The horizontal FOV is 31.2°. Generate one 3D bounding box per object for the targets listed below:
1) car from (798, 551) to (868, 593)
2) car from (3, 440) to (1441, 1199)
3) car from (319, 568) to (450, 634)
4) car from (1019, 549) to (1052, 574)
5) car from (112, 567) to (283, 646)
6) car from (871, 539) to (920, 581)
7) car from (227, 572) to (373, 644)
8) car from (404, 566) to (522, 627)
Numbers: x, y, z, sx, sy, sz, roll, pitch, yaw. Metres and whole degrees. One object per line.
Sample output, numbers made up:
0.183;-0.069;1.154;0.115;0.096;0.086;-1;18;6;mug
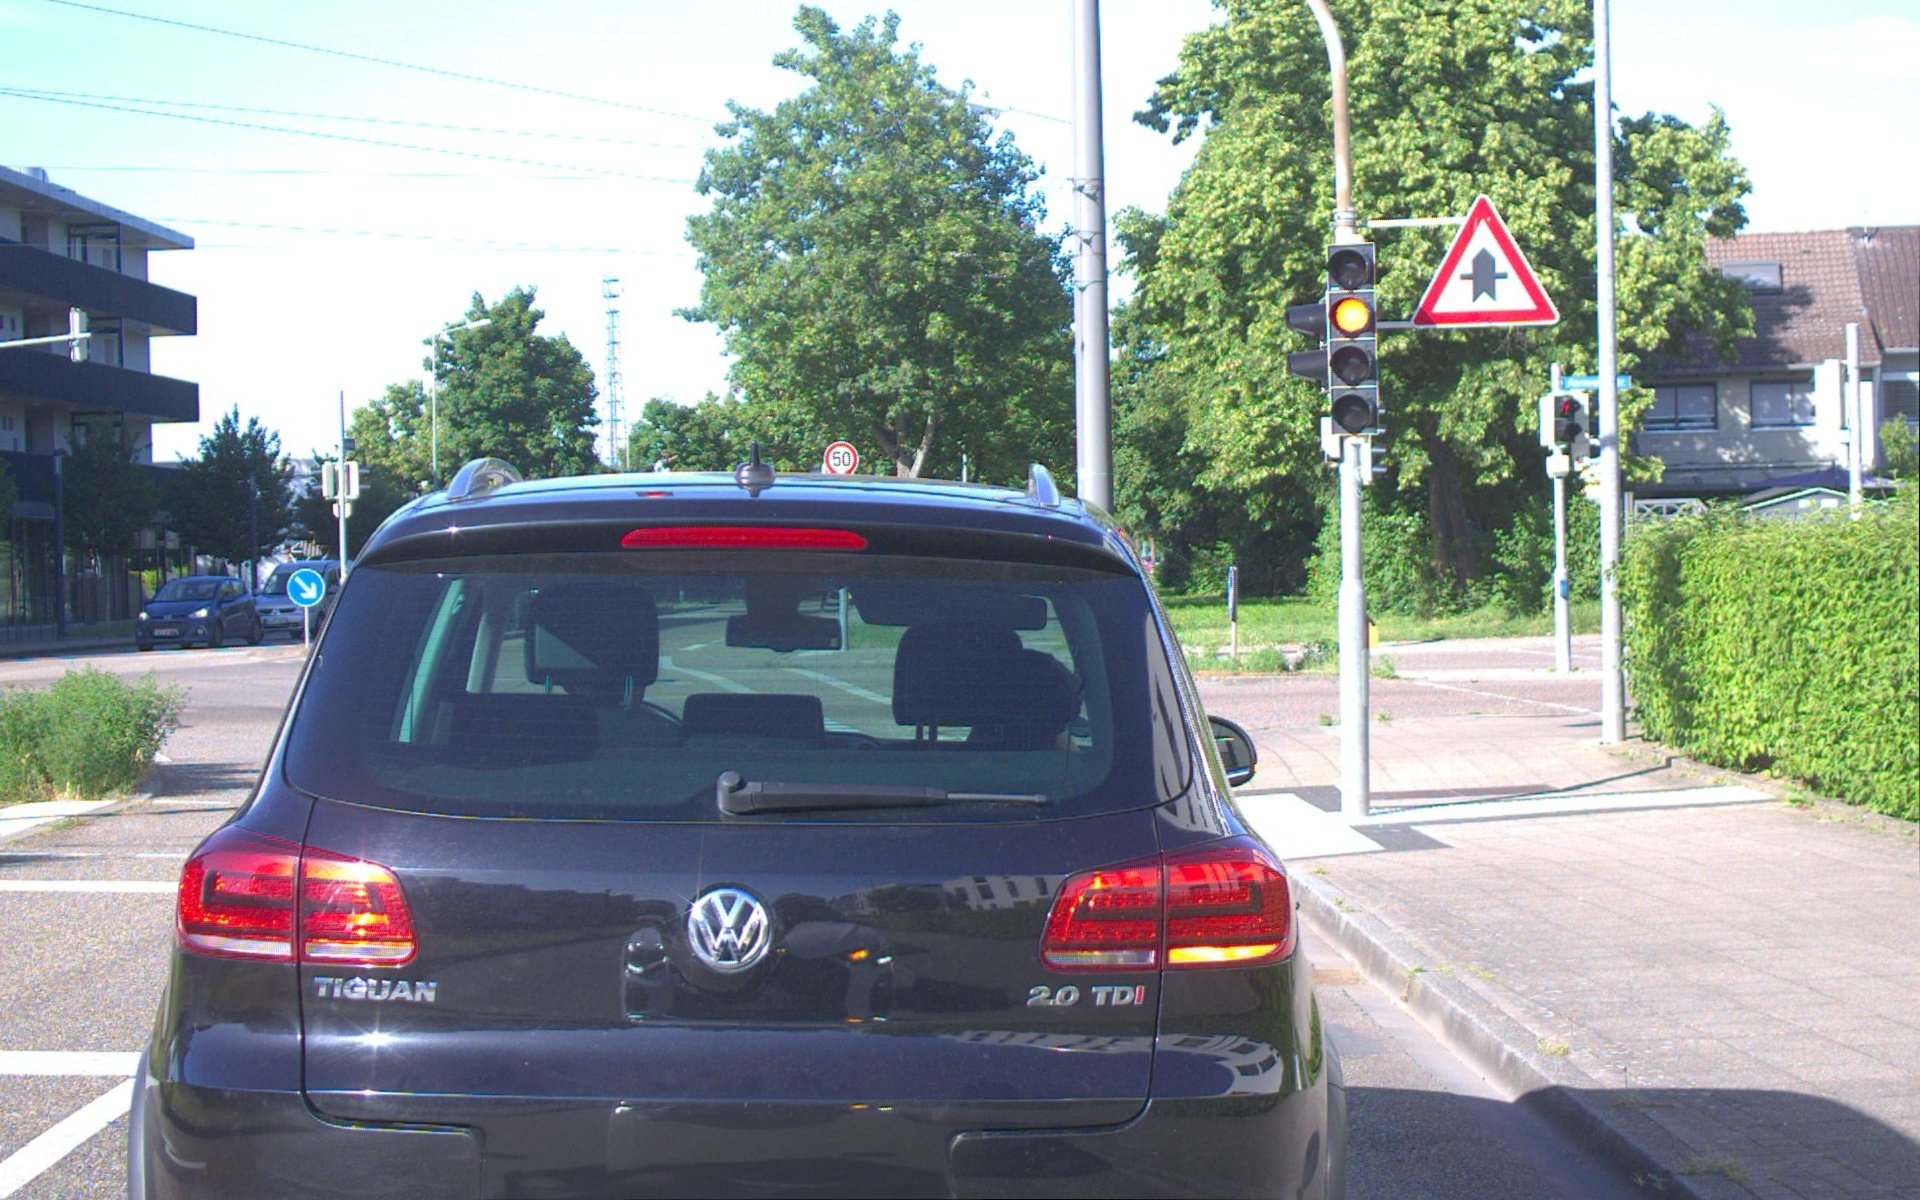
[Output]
-4.610;-1.027;125.318;1.864;1.480;4.109;-1;1;7;car
-0.338;0.599;6.504;1.869;1.632;4.000;1;1;-1;car
-14.117;0.004;84.575;1.994;1.569;4.338;1;1;7;car
5.227;-2.691;238.521;1.993;1.678;4.000;1;1;-2;car
-15.805;0.114;71.484;1.994;1.569;4.337;1;1;9;car
-2.713;-1.707;145.306;1.864;1.714;3.687;-1;1;1;car
-14.972;0.159;78.198;1.994;1.569;4.338;1;1;7;car
-13.125;-0.110;91.006;1.994;1.569;4.338;1;1;7;car
